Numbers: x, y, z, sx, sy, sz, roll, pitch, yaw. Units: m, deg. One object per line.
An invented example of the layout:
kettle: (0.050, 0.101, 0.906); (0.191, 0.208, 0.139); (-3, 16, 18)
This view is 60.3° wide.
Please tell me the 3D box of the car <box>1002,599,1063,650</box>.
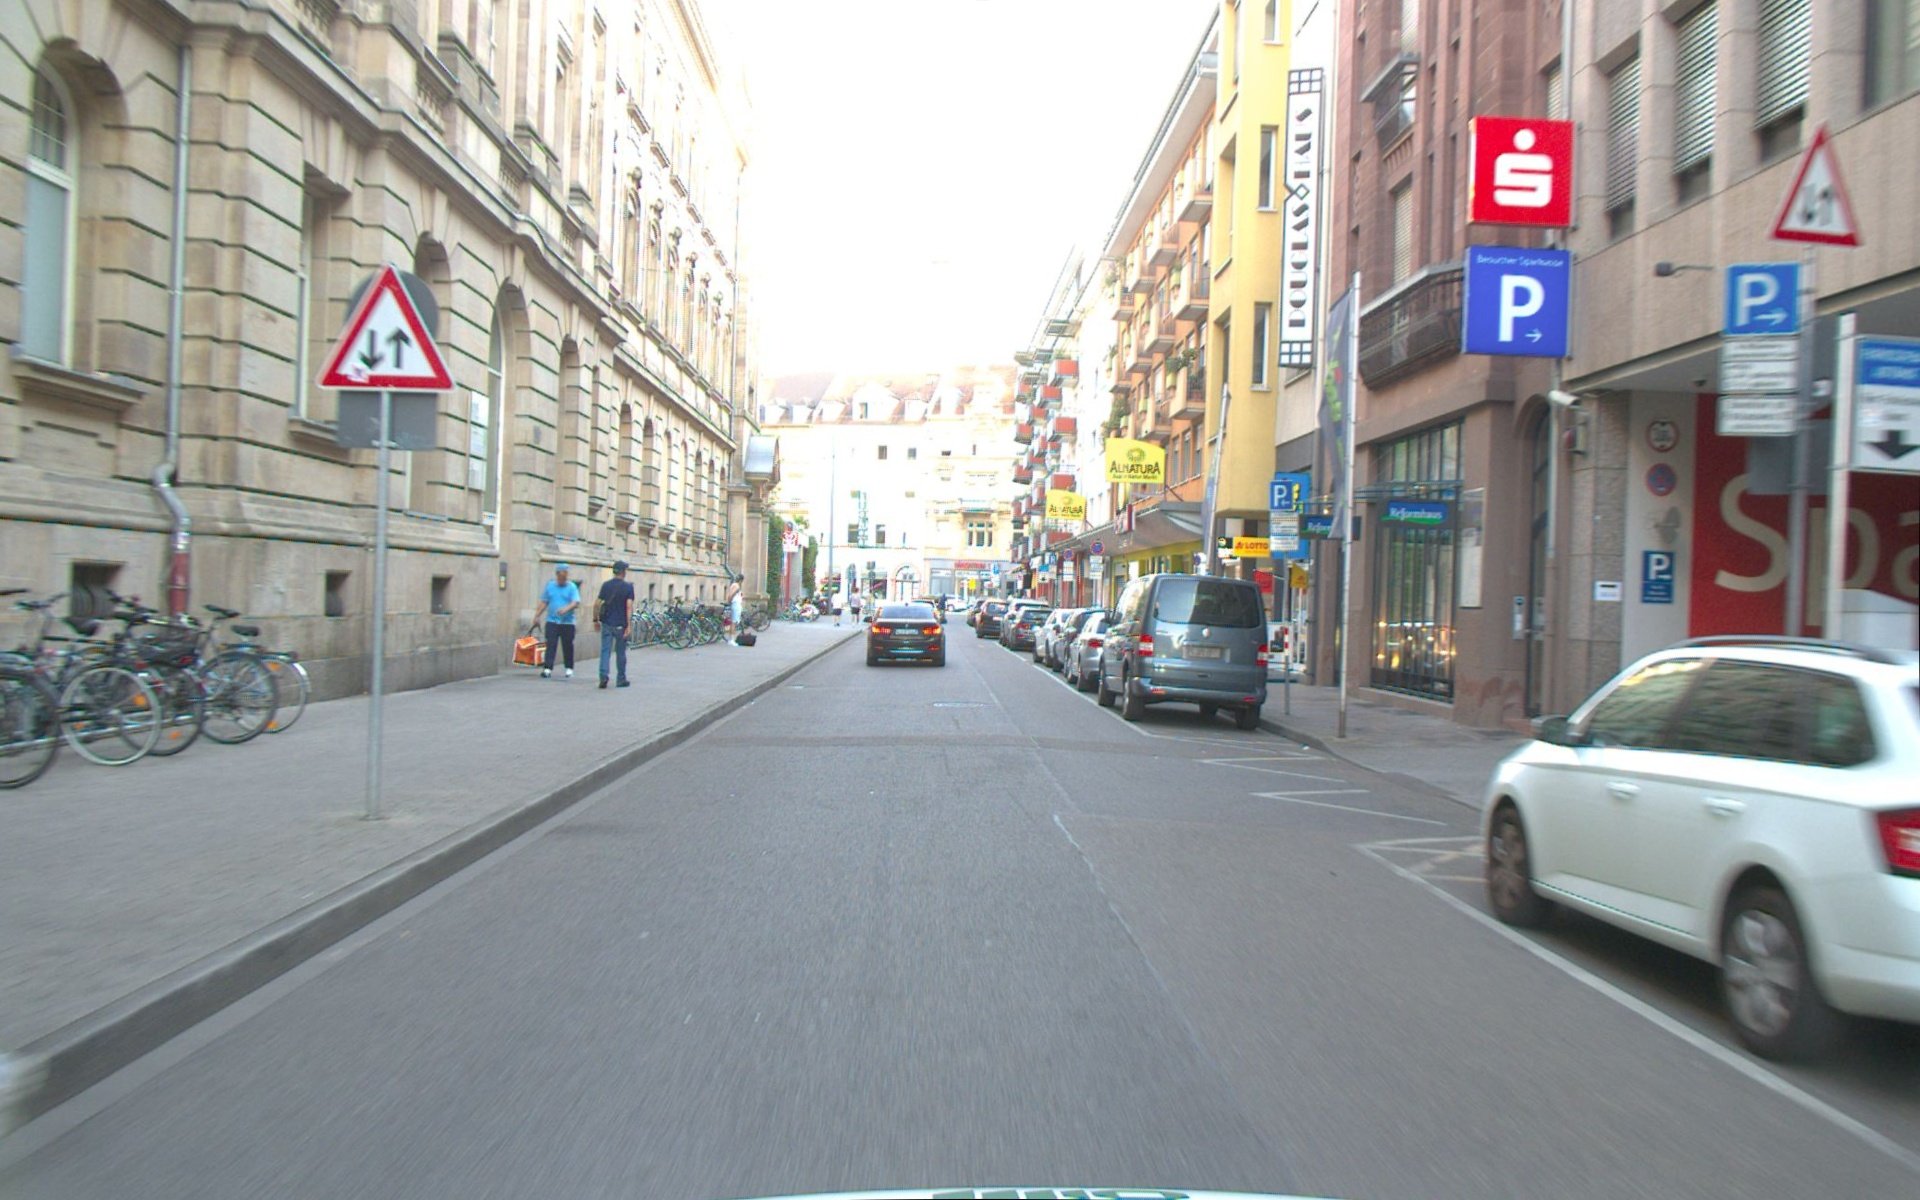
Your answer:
car: (2.325, 0.775, 54.317); (1.657, 1.439, 4.756); (4, 0, -1)

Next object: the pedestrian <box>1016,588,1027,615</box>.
pedestrian: (3.822, 0.086, 102.493); (0.635, 1.690, 0.655); (-1, 0, 0)

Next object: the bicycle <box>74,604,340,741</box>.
bicycle: (-6.441, 0.614, 14.224); (1.898, 1.064, 0.721); (3, 0, -6)

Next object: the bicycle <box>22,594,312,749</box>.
bicycle: (-6.343, 0.564, 13.307); (1.898, 1.097, 0.747); (4, -1, -3)

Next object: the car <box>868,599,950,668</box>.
car: (-1.144, 0.735, 38.540); (1.729, 1.399, 4.790); (2, 0, -1)

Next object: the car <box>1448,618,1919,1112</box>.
car: (3.656, 0.864, 7.188); (1.623, 1.473, 4.306); (3, 0, -2)

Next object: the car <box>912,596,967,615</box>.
car: (-1.762, 0.473, 141.974); (4.262, 1.590, 1.868); (1, -1, 21)

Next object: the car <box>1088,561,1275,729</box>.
car: (3.087, 0.604, 24.107); (1.809, 2.094, 5.052); (3, 0, -2)

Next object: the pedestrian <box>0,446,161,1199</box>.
pedestrian: (-2.496, 0.558, 3.956); (0.764, 1.820, 0.816); (0, 0, 41)

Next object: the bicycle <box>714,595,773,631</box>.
bicycle: (-7.593, 0.459, 57.944); (1.906, 1.080, 0.617); (5, -1, -17)

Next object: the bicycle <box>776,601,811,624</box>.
bicycle: (-8.744, 0.666, 86.681); (1.758, 1.127, 0.500); (2, 0, -3)

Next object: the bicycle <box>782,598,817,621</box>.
bicycle: (-8.612, 0.514, 88.862); (1.757, 1.127, 0.500); (2, 0, 1)

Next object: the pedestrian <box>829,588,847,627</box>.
pedestrian: (-5.978, 0.351, 81.390); (0.726, 1.844, 1.008); (4, 0, -2)

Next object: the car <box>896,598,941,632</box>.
car: (-1.933, 0.665, 77.806); (1.838, 1.498, 4.001); (1, 0, 2)

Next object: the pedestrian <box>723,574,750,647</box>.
pedestrian: (-5.868, 0.274, 43.435); (0.577, 1.883, 0.753); (3, 0, -7)

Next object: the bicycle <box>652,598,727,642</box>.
bicycle: (-7.188, 0.532, 44.047); (1.900, 1.080, 0.619); (3, -1, -7)

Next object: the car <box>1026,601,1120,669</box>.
car: (2.766, 0.826, 41.475); (1.658, 1.435, 4.635); (4, 0, -4)

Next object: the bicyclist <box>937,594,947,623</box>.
bicyclist: (-1.097, 0.512, 101.246); (0.513, 1.787, 0.620); (2, 0, -1)

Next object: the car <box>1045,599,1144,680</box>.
car: (2.896, 0.813, 36.306); (1.586, 1.542, 4.172); (4, 0, -2)

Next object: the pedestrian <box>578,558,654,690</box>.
pedestrian: (-4.832, 0.338, 23.310); (0.793, 1.781, 0.969); (3, -1, -1)

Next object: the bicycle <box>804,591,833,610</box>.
bicycle: (-9.100, 0.050, 106.412); (1.760, 1.127, 0.499); (3, 0, -7)

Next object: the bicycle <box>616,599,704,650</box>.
bicycle: (-6.983, 0.564, 38.570); (1.898, 1.080, 0.619); (3, -1, -3)

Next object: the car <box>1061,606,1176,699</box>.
car: (2.910, 0.925, 31.192); (1.652, 1.478, 4.497); (4, 0, 0)

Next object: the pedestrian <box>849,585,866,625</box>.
pedestrian: (-5.057, 0.264, 81.716); (0.729, 1.926, 1.050); (3, 0, -1)

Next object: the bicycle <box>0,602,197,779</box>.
bicycle: (-6.353, 0.585, 11.269); (1.901, 1.097, 0.729); (4, -1, -9)

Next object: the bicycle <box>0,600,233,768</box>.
bicycle: (-6.441, 0.591, 12.038); (1.901, 1.097, 0.729); (4, -1, -9)

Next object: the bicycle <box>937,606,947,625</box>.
bicycle: (-1.113, 0.951, 101.266); (0.525, 1.127, 1.800); (2, 0, 0)

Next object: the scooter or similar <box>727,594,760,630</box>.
scooter or similar: (-8.073, 0.446, 61.719); (1.113, 1.254, 0.495); (3, 0, -14)

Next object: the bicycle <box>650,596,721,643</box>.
bicycle: (-7.174, 0.511, 43.233); (1.760, 1.127, 0.499); (3, -1, -8)

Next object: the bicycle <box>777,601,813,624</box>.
bicycle: (-8.610, 0.671, 86.339); (1.758, 1.127, 0.500); (2, 0, -2)

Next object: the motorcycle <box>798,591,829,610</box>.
motorcycle: (-9.169, 0.051, 103.633); (1.764, 1.082, 0.764); (3, 0, 24)

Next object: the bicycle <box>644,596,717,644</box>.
bicycle: (-7.093, 0.504, 42.035); (1.760, 1.127, 0.499); (3, -1, -8)

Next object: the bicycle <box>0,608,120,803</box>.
bicycle: (-6.238, 0.583, 9.957); (1.901, 1.097, 0.729); (4, -1, -9)

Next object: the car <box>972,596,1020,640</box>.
car: (1.521, 0.720, 68.512); (1.757, 1.637, 4.488); (4, 0, 3)

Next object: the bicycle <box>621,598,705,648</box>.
bicycle: (-7.129, 0.550, 39.814); (1.900, 1.080, 0.619); (3, -1, -8)

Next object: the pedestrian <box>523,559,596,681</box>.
pedestrian: (-6.075, 0.296, 25.114); (0.812, 1.776, 0.769); (4, 0, -1)

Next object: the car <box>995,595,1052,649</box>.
car: (2.237, 0.742, 59.284); (1.717, 1.697, 4.755); (4, 0, -1)

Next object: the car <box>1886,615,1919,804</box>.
car: (9.972, 0.971, 13.021); (4.314, 1.527, 1.916); (2, -1, -3)

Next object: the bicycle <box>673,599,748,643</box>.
bicycle: (-6.792, 0.570, 45.100); (1.899, 1.080, 0.619); (3, -1, -4)
